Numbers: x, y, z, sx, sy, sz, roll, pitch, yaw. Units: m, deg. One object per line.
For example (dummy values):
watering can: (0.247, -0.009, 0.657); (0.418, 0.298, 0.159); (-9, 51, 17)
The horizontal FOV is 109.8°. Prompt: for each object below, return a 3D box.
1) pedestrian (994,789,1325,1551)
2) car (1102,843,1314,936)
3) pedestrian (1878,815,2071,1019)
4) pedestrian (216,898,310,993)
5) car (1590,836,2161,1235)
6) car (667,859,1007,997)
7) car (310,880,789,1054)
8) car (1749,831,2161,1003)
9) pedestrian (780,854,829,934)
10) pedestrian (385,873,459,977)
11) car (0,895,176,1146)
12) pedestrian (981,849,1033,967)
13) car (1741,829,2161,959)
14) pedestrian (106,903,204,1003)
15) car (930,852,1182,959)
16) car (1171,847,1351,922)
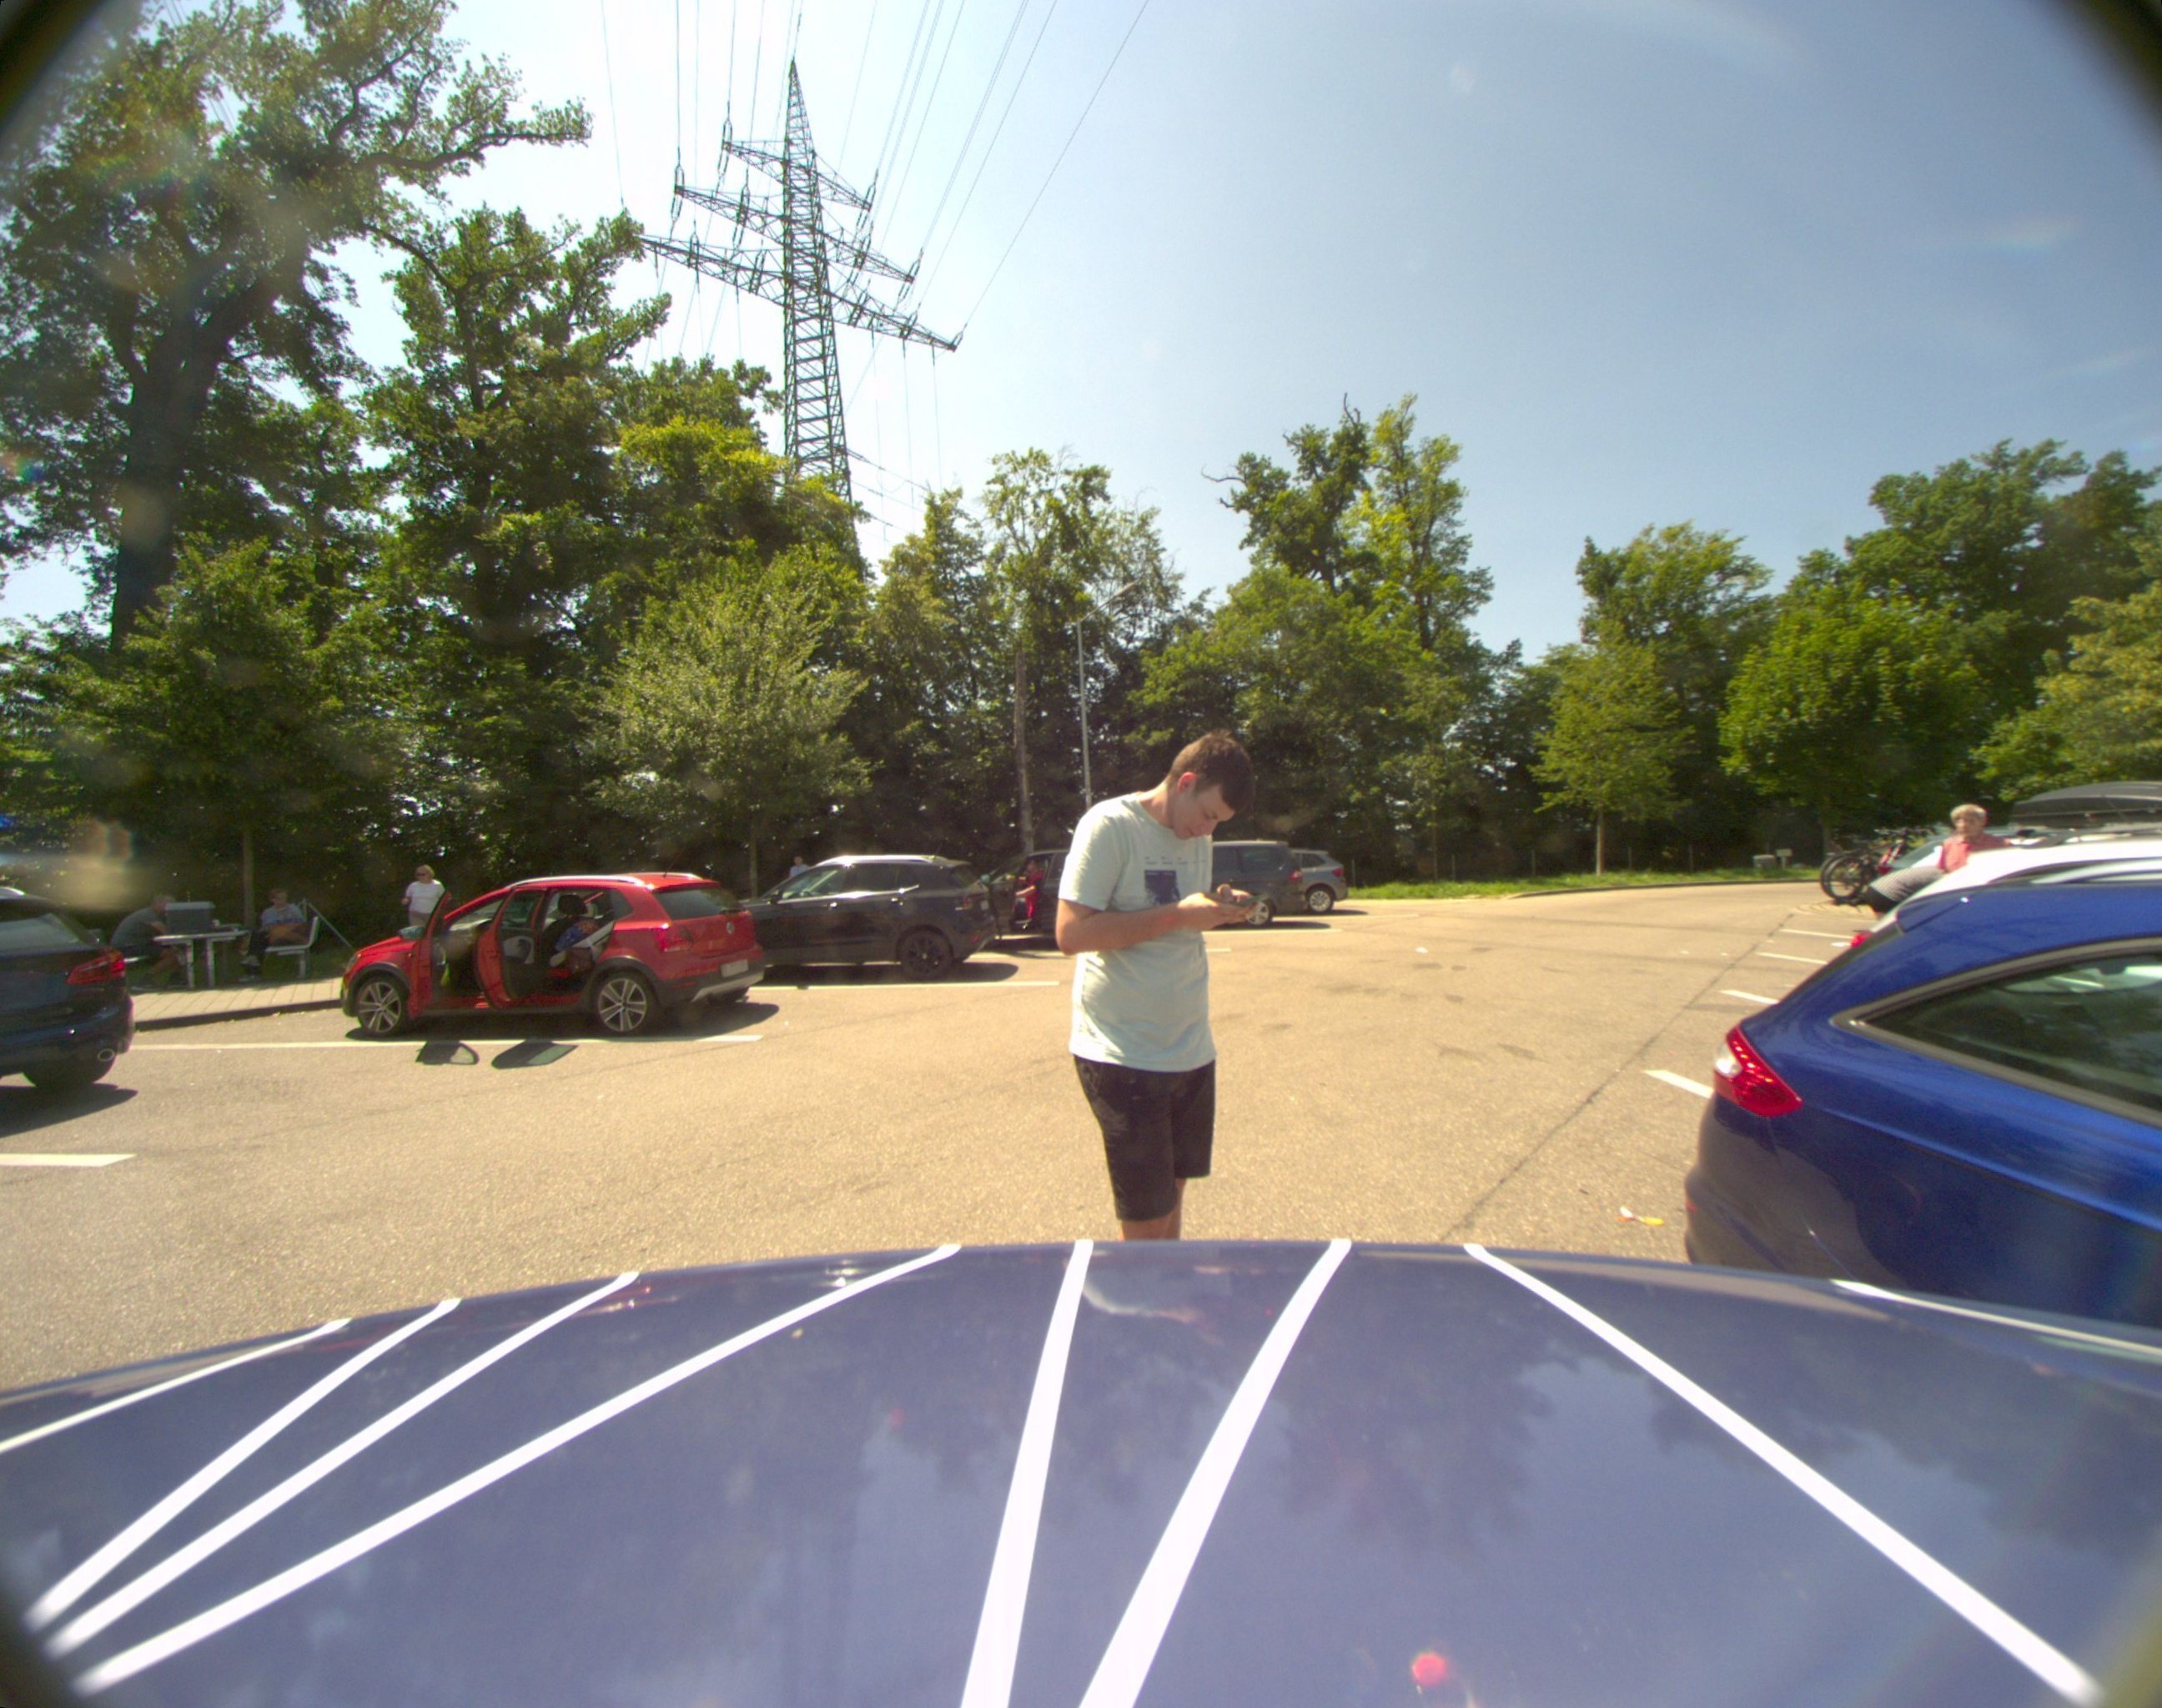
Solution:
pedestrian: (0.181, 0.719, 2.005); (0.687, 1.699, 0.578); (-2, 0, 1)
car: (2.508, 0.697, 15.448); (3.964, 1.678, 1.781); (-2, 0, 7)
pedestrian: (7.451, 0.502, 6.376); (0.672, 1.592, 0.759); (-2, 0, 1)
pedestrian: (-11.861, 1.301, 11.023); (0.828, 1.287, 0.672); (-2, 0, 24)
car: (4.851, 0.657, 3.632); (1.779, 1.456, 4.470); (-2, -1, 0)
car: (-3.148, 0.938, 10.378); (3.966, 1.582, 1.841); (-2, 0, 3)
car: (-5.195, 1.072, 7.719); (3.704, 1.448, 1.781); (-2, 0, 7)
car: (10.062, 0.532, 8.156); (1.779, 1.456, 4.470); (-2, -1, 0)
pedestrian: (-5.717, 0.812, 15.746); (0.715, 1.584, 0.809); (-2, 0, -7)
pedestrian: (-10.704, 1.117, 12.374); (0.777, 1.584, 0.808); (-2, 0, -34)
car: (-8.920, 1.156, 5.001); (4.011, 1.558, 1.846); (-2, 0, 6)
pedestrian: (-1.120, 0.806, 11.621); (0.660, 1.745, 0.636); (-2, 0, 1)
car: (12.363, 0.476, 10.940); (1.779, 1.456, 4.470); (-2, -1, 0)
pedestrian: (-12.651, 1.326, 10.385); (0.652, 1.262, 0.672); (-2, 0, 24)
car: (-0.328, 0.840, 12.957); (3.964, 1.582, 1.781); (-2, 0, 8)
car: (4.177, 0.713, 18.201); (3.964, 1.577, 1.781); (-2, 0, 7)
